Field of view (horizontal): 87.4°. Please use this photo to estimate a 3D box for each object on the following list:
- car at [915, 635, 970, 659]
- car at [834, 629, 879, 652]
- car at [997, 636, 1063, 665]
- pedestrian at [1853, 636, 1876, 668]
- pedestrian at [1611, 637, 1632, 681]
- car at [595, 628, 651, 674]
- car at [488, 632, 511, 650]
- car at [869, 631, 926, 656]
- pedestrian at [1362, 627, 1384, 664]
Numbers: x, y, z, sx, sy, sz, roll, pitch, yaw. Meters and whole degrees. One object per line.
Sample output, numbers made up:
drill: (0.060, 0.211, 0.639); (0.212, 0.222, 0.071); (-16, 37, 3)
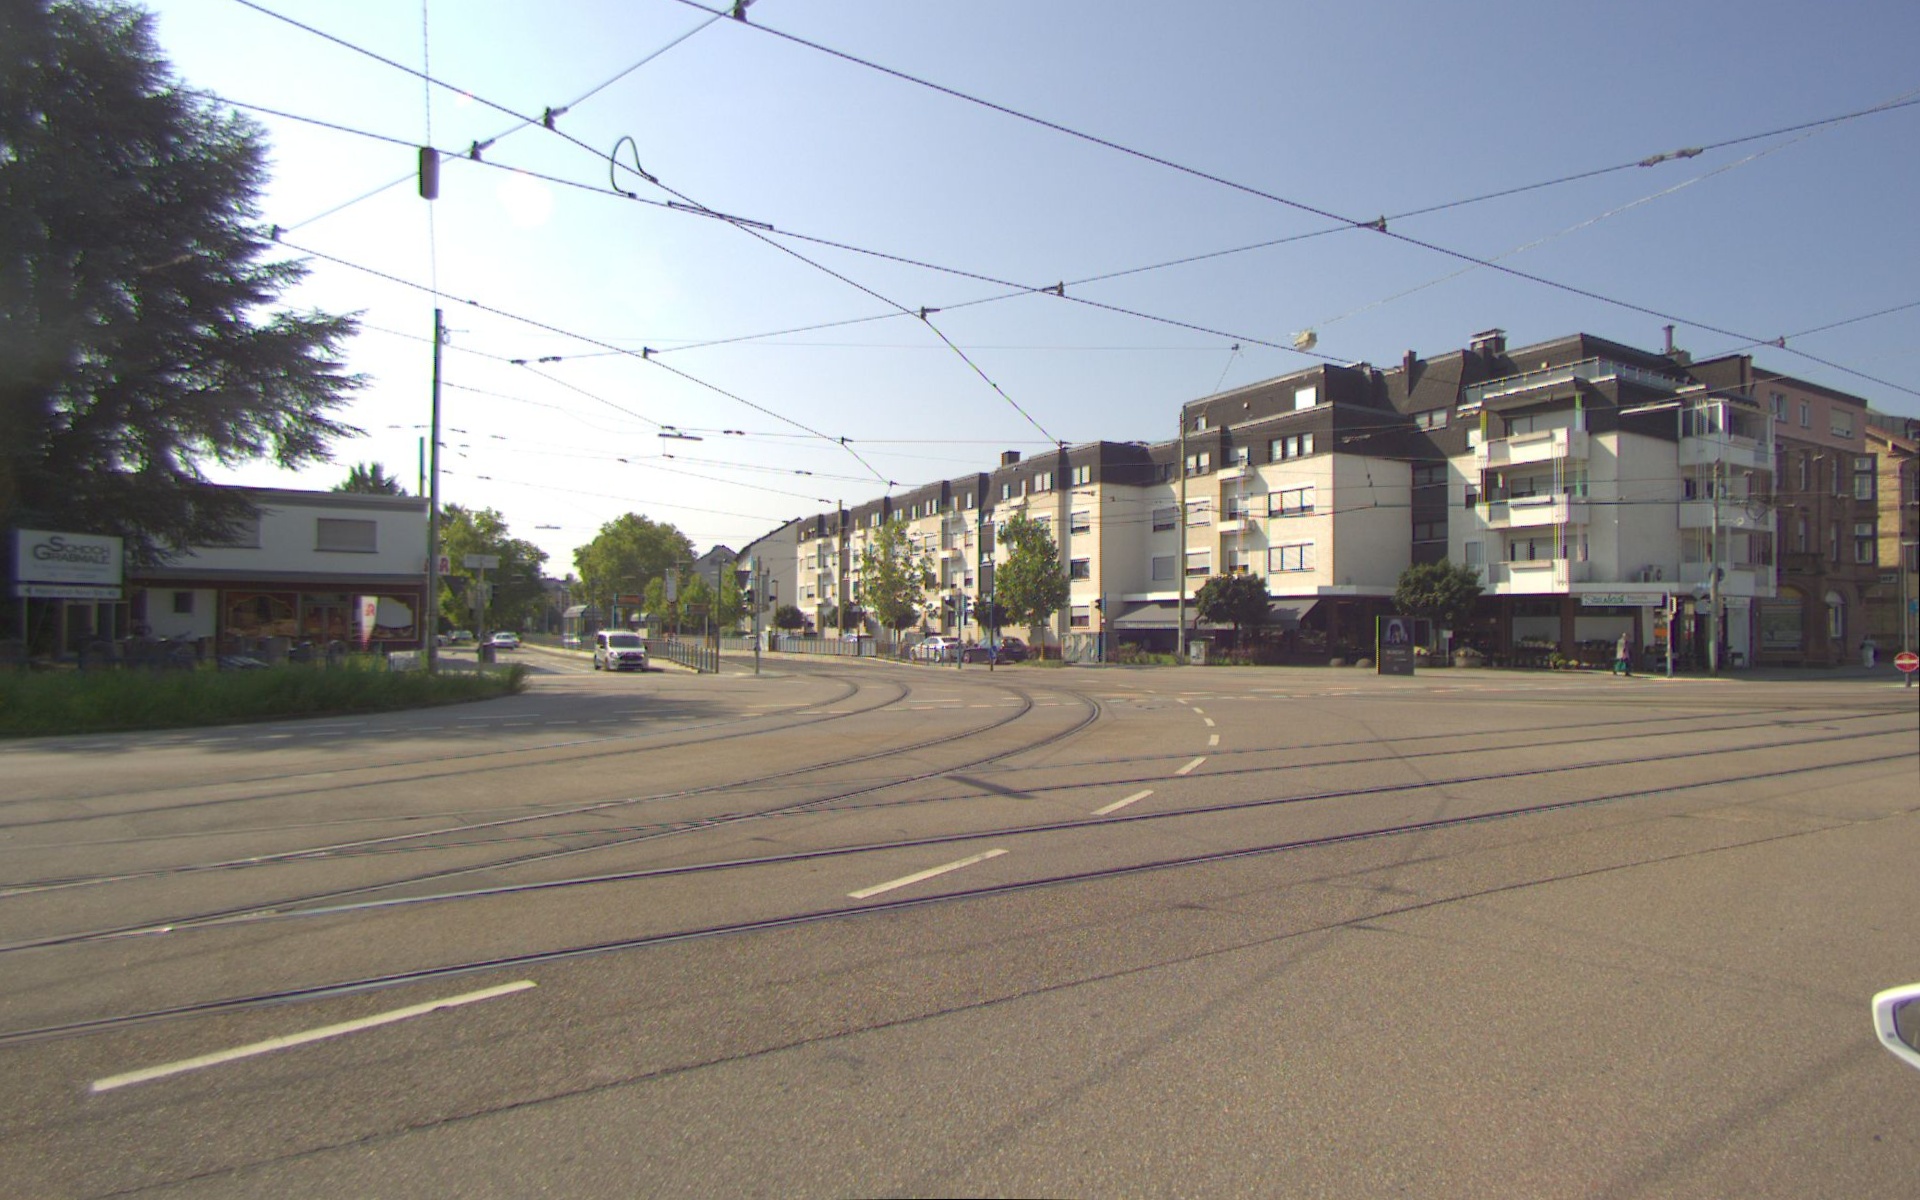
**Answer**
car: (-1.073, 2.784, 58.644); (1.651, 1.316, 4.097); (1, -4, -26)
car: (-7.215, 2.857, 69.743); (1.653, 1.500, 3.888); (2, -4, -30)
car: (4.049, 2.922, 58.612); (1.908, 1.527, 4.089); (2, -2, -30)
pedestrian: (45.457, 2.630, 50.501); (0.873, 1.580, 0.482); (2, -1, -19)
pedestrian: (26.895, 2.419, 40.827); (0.589, 1.768, 0.565); (-2, -3, 27)
car: (-15.252, 2.258, 45.361); (1.800, 1.911, 3.998); (1, -1, -28)
car: (-40.440, 3.641, 88.256); (1.704, 1.527, 3.975); (1, -4, -26)
car: (-4.032, 2.802, 64.036); (1.848, 1.554, 4.350); (2, -4, -31)
pedestrian: (19.771, 2.173, 48.089); (0.689, 1.763, 0.677); (1, -4, -29)
